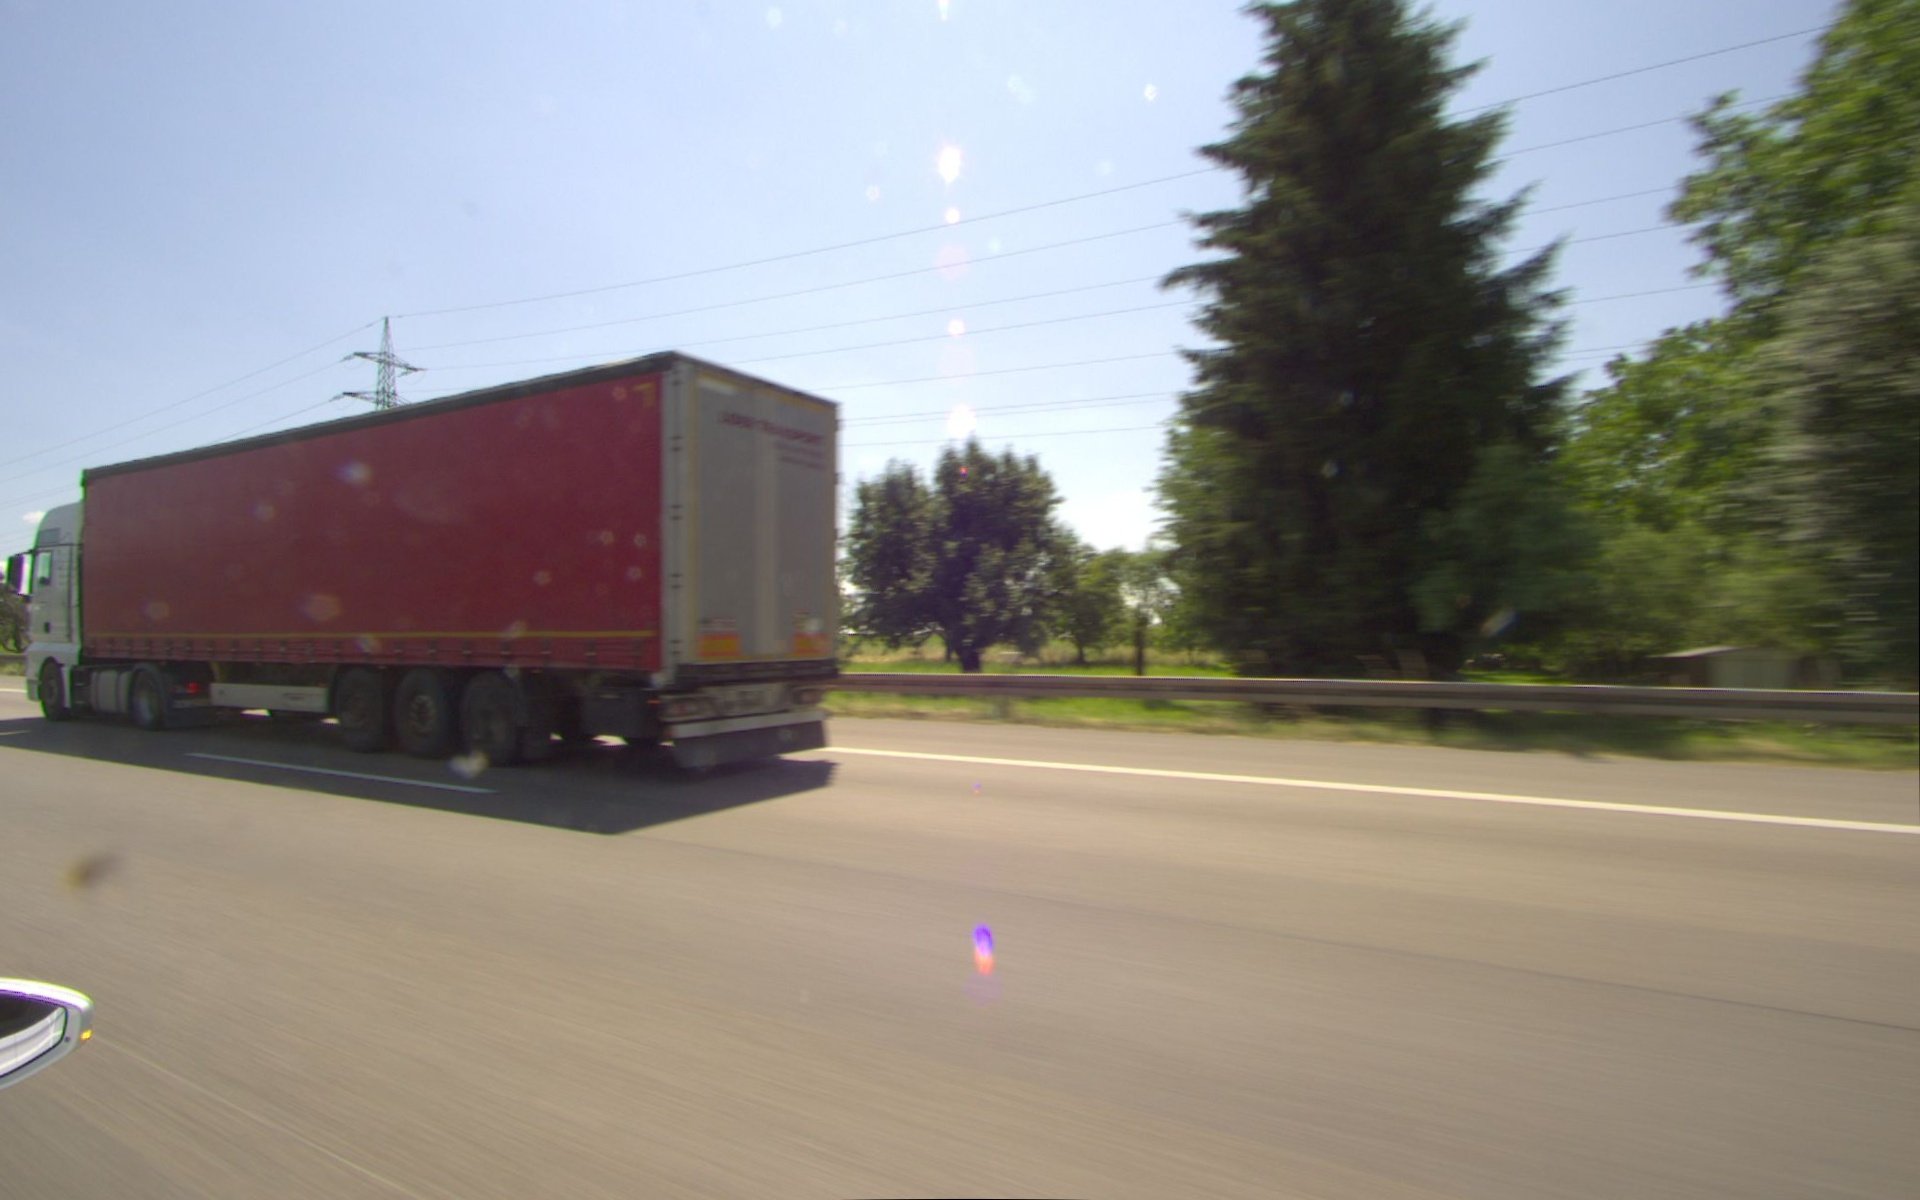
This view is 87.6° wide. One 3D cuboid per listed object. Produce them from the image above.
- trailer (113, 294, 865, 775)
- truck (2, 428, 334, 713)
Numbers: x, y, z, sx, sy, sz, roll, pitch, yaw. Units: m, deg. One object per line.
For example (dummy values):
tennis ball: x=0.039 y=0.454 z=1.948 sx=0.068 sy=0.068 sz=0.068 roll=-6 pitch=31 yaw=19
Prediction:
trailer: x=-7.186 y=-0.473 z=13.486 sx=12.844 sy=4.319 sz=2.597 roll=-1 pitch=-1 yaw=32
truck: x=-13.912 y=-0.367 z=17.484 sx=6.157 sy=4.207 sz=2.557 roll=-1 pitch=-1 yaw=31
